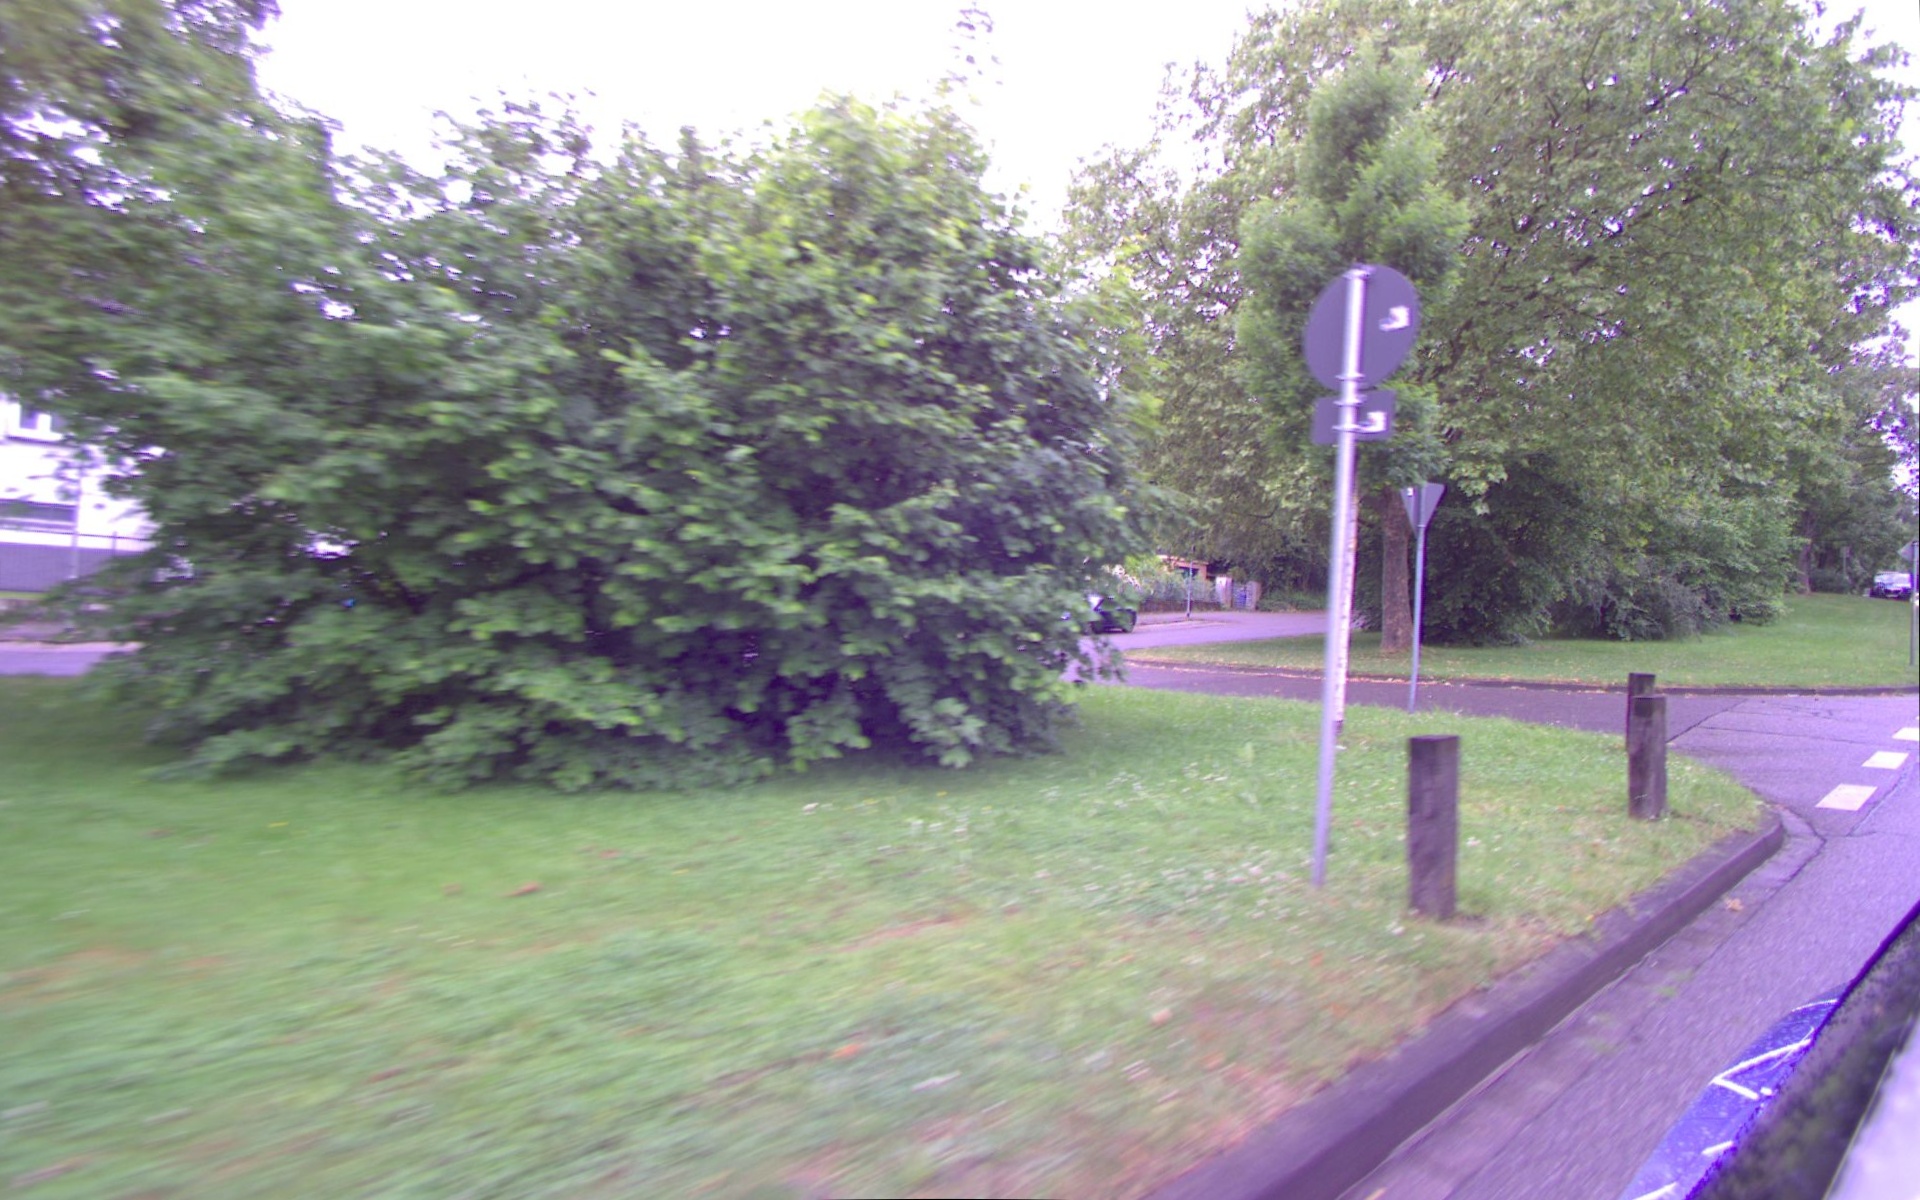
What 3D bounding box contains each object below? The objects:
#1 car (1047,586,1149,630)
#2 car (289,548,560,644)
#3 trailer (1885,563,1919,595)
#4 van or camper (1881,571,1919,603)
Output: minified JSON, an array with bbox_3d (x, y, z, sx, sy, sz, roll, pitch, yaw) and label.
[{"bbox_3d":[5.333,0.296,38.875,3.994,1.498,1.647,0,4,-43],"label":"car"},{"bbox_3d":[-11.932,-0.099,22.761,4.984,1.902,2.162,1,2,-43],"label":"car"},{"bbox_3d":[63.425,-1.405,68.095,1.696,2.079,3.891,3,3,43],"label":"trailer"},{"bbox_3d":[60.187,-0.833,64.582,1.994,1.891,5.578,4,3,43],"label":"van or camper"}]
